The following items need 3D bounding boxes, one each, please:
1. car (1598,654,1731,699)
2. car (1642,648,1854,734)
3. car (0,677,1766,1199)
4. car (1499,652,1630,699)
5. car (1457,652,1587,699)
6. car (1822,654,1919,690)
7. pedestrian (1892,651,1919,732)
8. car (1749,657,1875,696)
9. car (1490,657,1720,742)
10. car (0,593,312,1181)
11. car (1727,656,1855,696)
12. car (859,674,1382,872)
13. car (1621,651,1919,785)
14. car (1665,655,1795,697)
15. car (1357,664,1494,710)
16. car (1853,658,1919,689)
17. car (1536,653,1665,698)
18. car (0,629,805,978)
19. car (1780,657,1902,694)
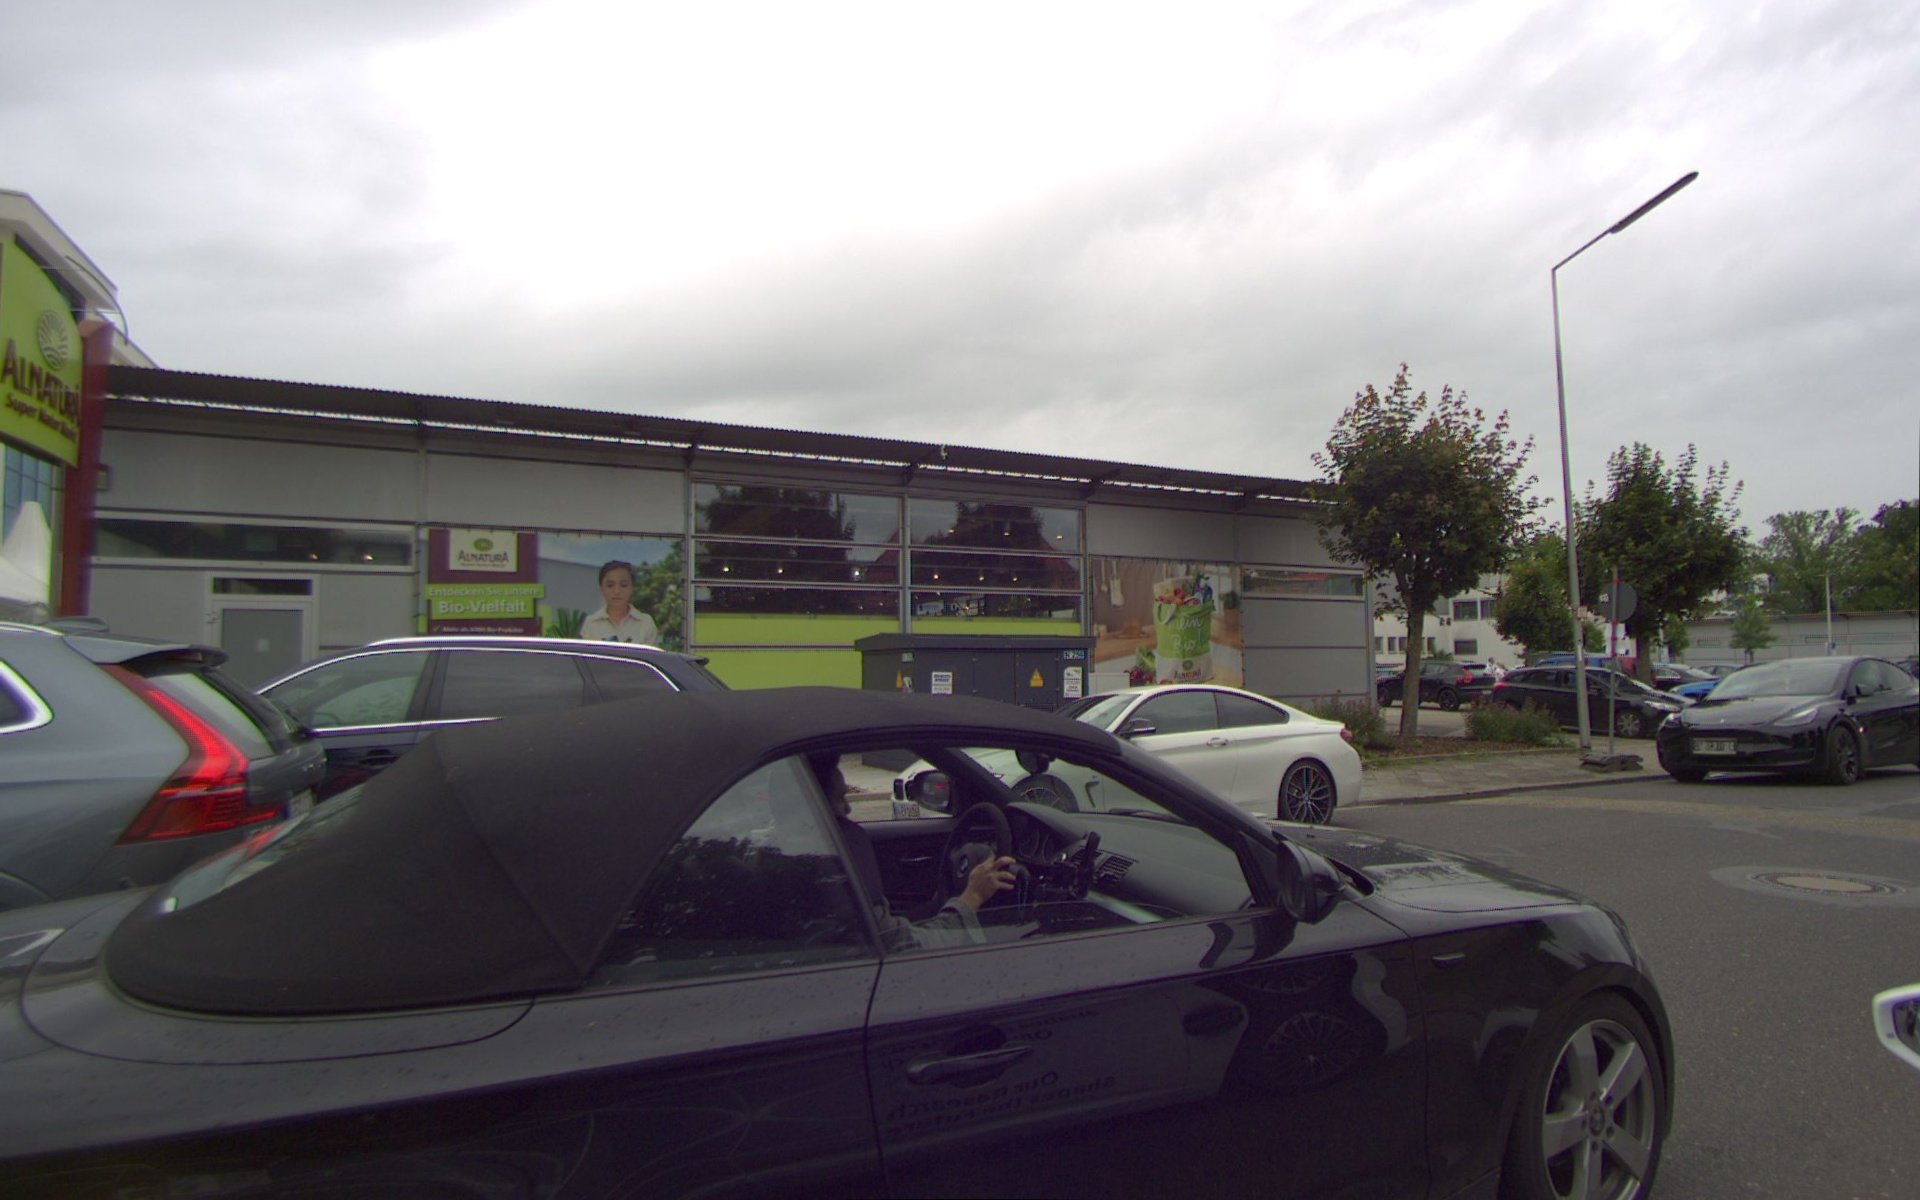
[{"bbox_3d":[28.183,3.057,40.317,1.851,1.690,3.977,1,-4,-25],"label":"car"},{"bbox_3d":[20.273,2.327,26.013,1.742,2.039,3.910,2,-5,-32],"label":"car"},{"bbox_3d":[-0.098,0.892,2.461,4.086,1.376,1.739,2,-4,-28],"label":"car"},{"bbox_3d":[23.464,2.926,39.128,1.851,1.690,3.977,1,-4,-25],"label":"car"},{"bbox_3d":[21.238,2.846,38.120,1.851,1.690,3.977,1,-4,-25],"label":"car"},{"bbox_3d":[44.765,3.483,48.740,1.851,1.690,3.977,1,-4,-25],"label":"car"},{"bbox_3d":[20.943,1.988,21.842,0.689,1.737,0.772,2,-3,-30],"label":"pedestrian"},{"bbox_3d":[39.208,3.504,46.339,1.851,1.690,3.977,1,-4,-25],"label":"car"},{"bbox_3d":[14.092,2.105,22.186,1.901,1.641,3.863,1,-3,-25],"label":"car"},{"bbox_3d":[-4.764,0.867,3.052,4.436,1.705,1.928,2,-5,-27],"label":"car"},{"bbox_3d":[37.181,3.404,45.049,1.851,1.690,3.977,1,-4,-25],"label":"car"},{"bbox_3d":[1.489,1.445,9.048,4.459,1.384,1.695,2,-9,-27],"label":"car"},{"bbox_3d":[11.206,1.549,13.471,4.347,1.545,1.941,2,-8,-28],"label":"car"},{"bbox_3d":[32.712,3.241,42.789,1.851,1.690,3.977,1,-4,-25],"label":"car"},{"bbox_3d":[16.017,2.975,34.607,3.939,1.504,1.869,-4,-5,38],"label":"car"},{"bbox_3d":[47.837,3.693,50.529,1.761,1.511,3.978,1,-4,-24],"label":"car"},{"bbox_3d":[25.566,3.015,40.253,1.851,1.690,3.977,1,-4,-25],"label":"car"},{"bbox_3d":[-3.538,1.152,6.582,4.664,1.712,1.862,1,-7,-25],"label":"car"},{"bbox_3d":[42.346,3.625,48.365,1.851,1.690,3.977,1,-4,-25],"label":"car"}]
